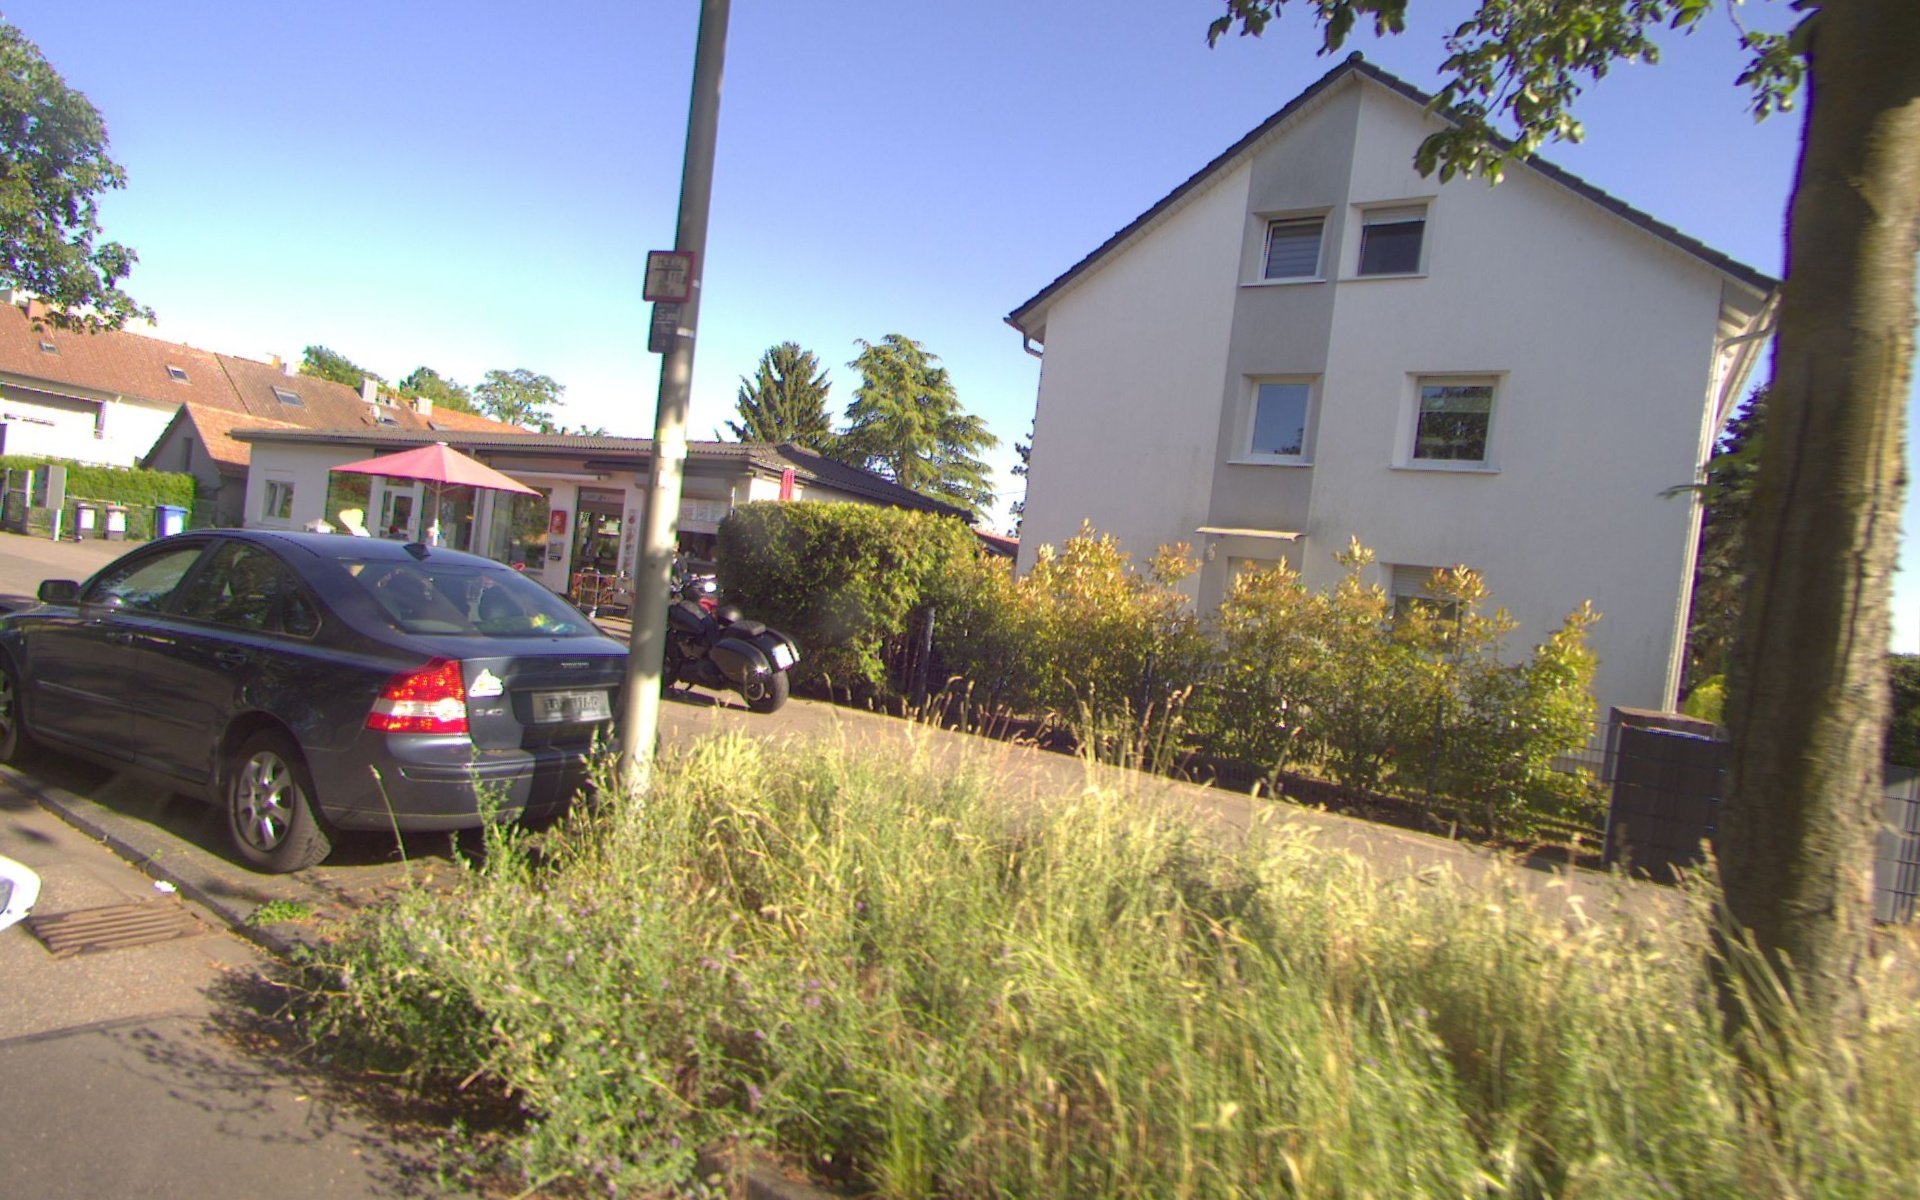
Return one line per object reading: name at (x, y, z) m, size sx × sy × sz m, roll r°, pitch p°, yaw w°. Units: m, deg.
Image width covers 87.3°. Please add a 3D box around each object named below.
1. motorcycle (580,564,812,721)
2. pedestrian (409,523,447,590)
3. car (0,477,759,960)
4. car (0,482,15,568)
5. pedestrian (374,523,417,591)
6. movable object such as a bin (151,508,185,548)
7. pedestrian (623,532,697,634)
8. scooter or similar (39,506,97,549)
motorcycle at (-2.713, 0.393, 10.217) m, size 2.312 × 1.243 × 0.818 m, roll 7°, pitch 2°, yaw 32°
pedestrian at (-12.022, -0.981, 22.743) m, size 0.656 × 1.427 × 0.489 m, roll 5°, pitch 2°, yaw -30°
car at (-3.580, 0.426, 5.667) m, size 4.304 × 1.639 × 2.001 m, roll 7°, pitch -3°, yaw 26°
car at (-12.699, -0.771, 11.480) m, size 4.310 × 1.639 × 1.614 m, roll 7°, pitch -3°, yaw 33°
pedestrian at (-12.336, -0.933, 21.986) m, size 0.629 × 1.401 × 0.439 m, roll 7°, pitch -1°, yaw 37°
movable object such as a bin at (-22.051, -2.003, 28.015) m, size 0.734 × 1.046 × 0.493 m, roll 7°, pitch 3°, yaw 31°
pedestrian at (-5.683, -0.309, 19.080) m, size 0.824 × 1.800 × 0.824 m, roll 7°, pitch 1°, yaw 20°
scooter or similar at (-21.855, -1.775, 24.649) m, size 1.385 × 0.868 × 0.369 m, roll 7°, pitch 0°, yaw 19°
